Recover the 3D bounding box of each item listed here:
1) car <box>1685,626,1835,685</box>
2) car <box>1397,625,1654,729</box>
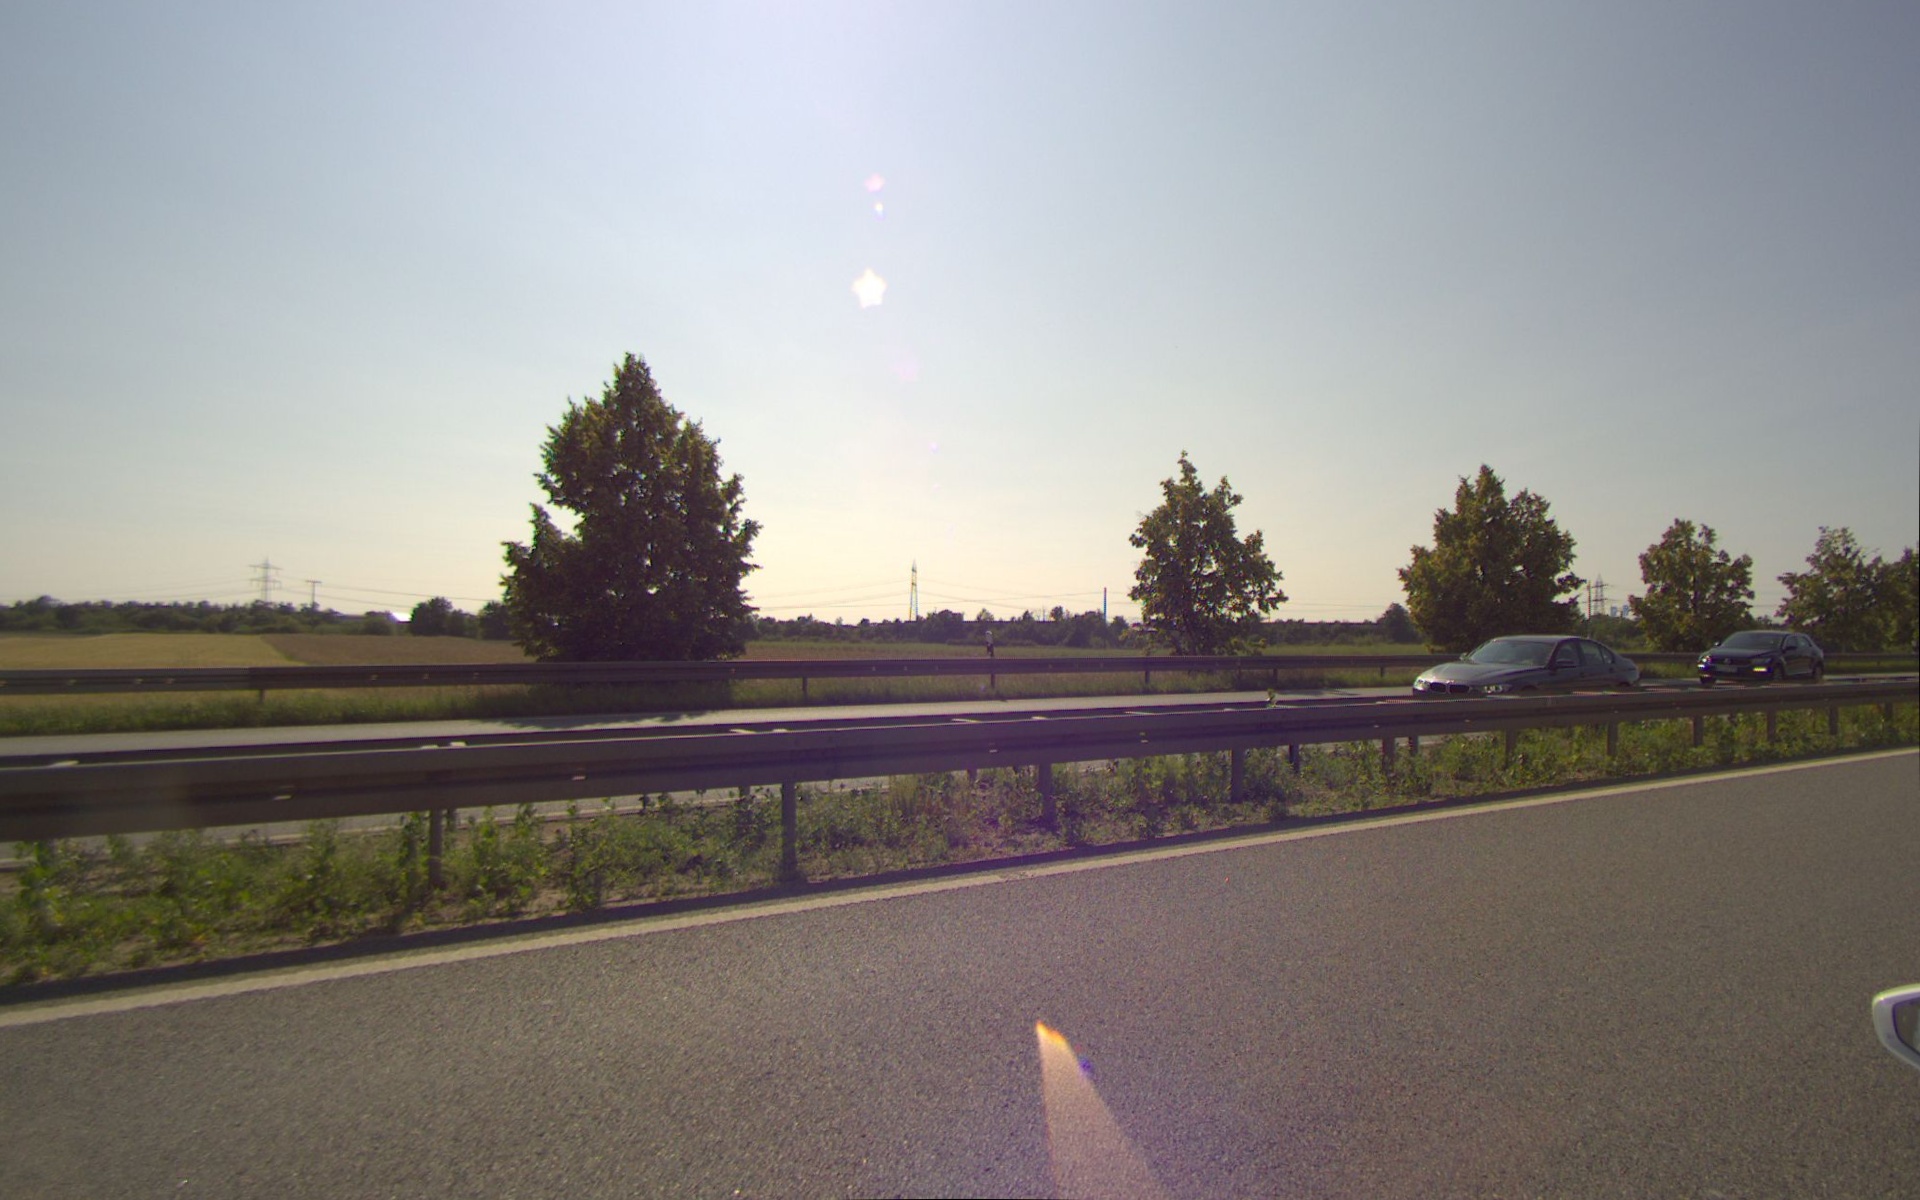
[{"bbox_3d":[22.752,1.551,28.530,4.399,1.562,1.805,2,-1,-29],"label":"car"},{"bbox_3d":[9.662,1.242,17.098,4.399,1.562,1.805,2,-1,-29],"label":"car"}]
